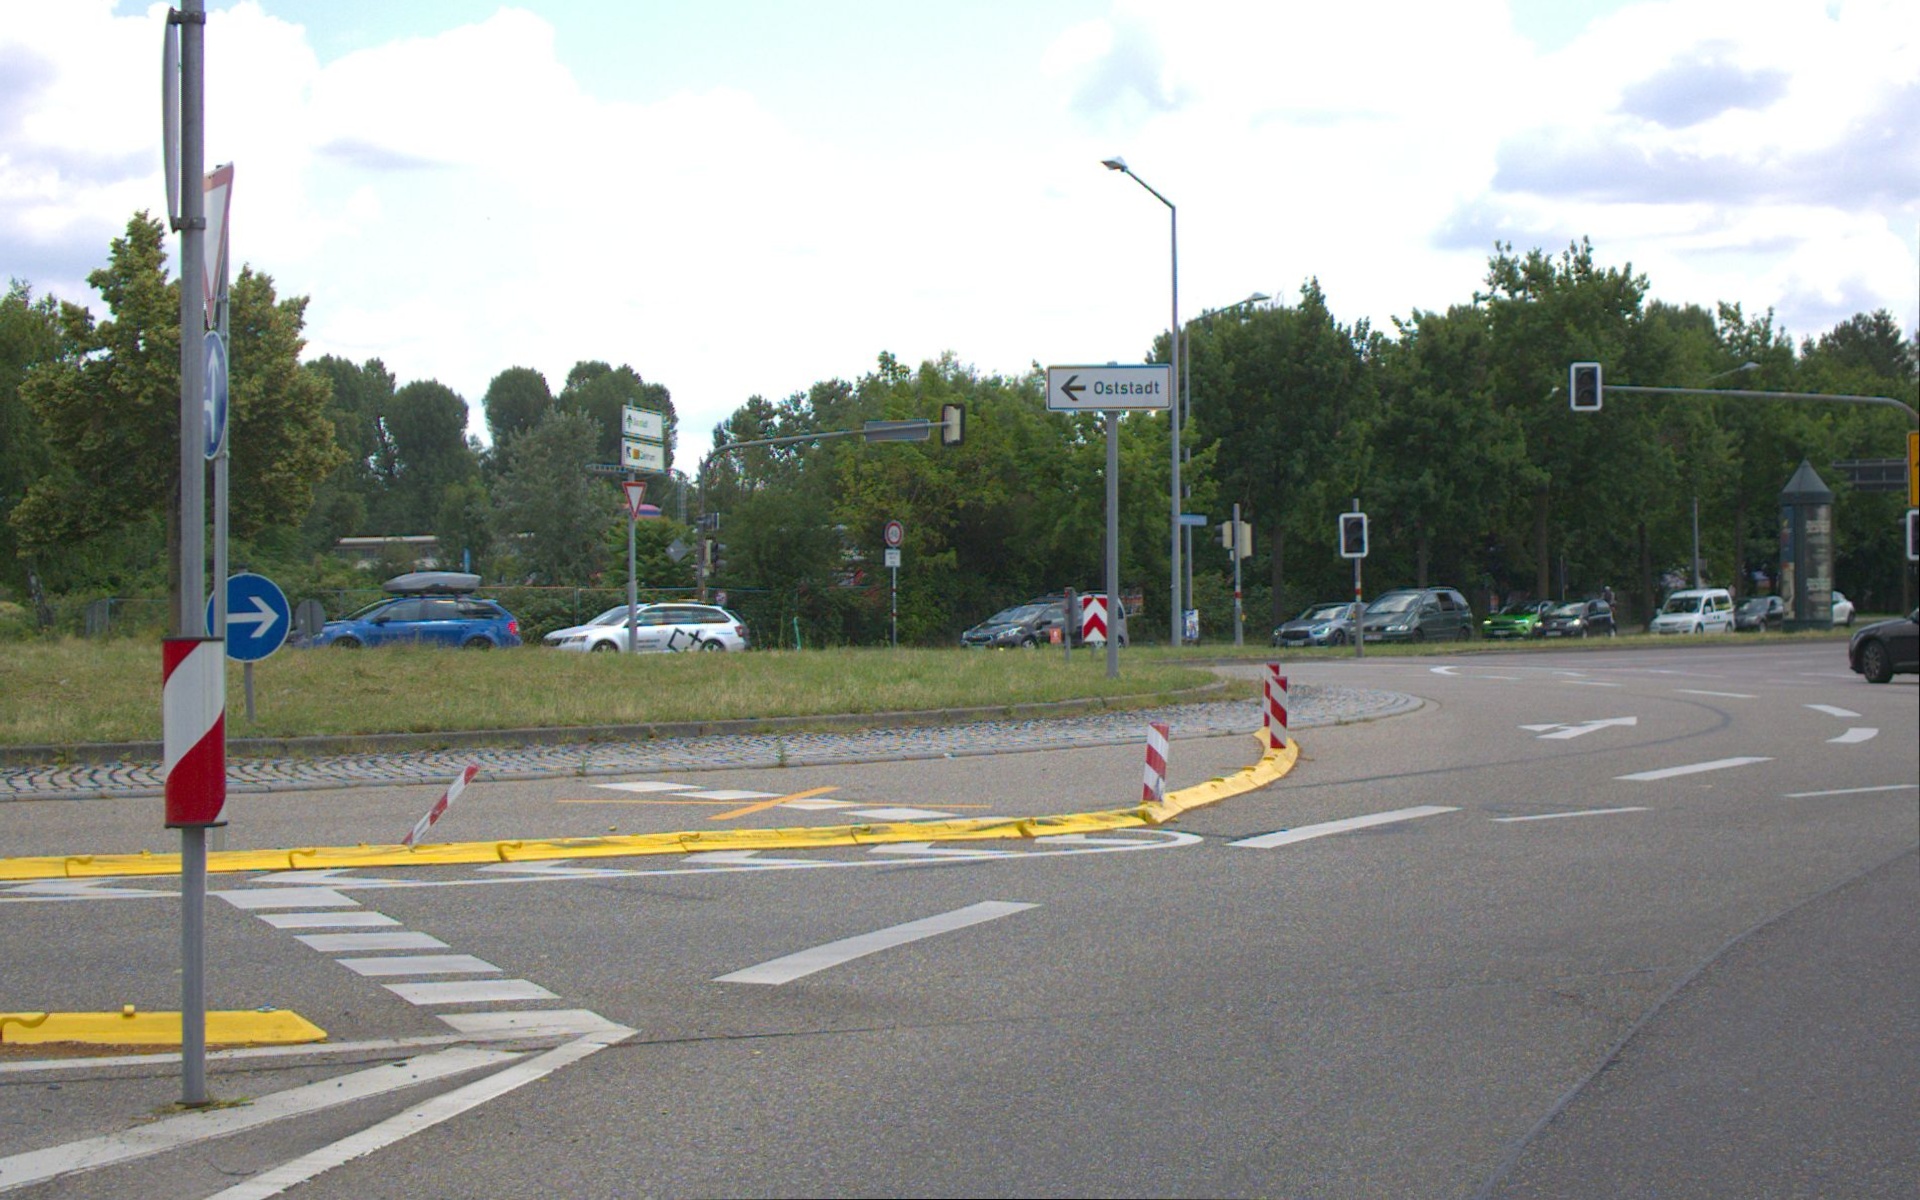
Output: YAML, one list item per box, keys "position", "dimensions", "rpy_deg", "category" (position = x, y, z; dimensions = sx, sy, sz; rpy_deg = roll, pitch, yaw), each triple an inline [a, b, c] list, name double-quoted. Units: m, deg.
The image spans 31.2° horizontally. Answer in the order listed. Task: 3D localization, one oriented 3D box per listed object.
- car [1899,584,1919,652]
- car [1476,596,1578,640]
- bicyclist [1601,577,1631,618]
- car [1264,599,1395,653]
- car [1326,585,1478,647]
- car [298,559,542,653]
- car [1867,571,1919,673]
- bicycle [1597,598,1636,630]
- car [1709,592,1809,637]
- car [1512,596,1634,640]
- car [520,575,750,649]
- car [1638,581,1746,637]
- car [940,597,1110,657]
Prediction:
- position: [29.785, 0.543, 103.322]
  dimensions: [1.997, 2.007, 3.993]
  rpy_deg: [1, 1, 31]
  category: "car"
- position: [18.409, 0.577, 111.503]
  dimensions: [1.619, 1.344, 4.162]
  rpy_deg: [-2, -1, 34]
  category: "car"
- position: [25.689, -0.088, 134.571]
  dimensions: [0.831, 1.559, 0.882]
  rpy_deg: [2, 1, 33]
  category: "bicyclist"
- position: [10.069, 0.697, 93.425]
  dimensions: [1.909, 1.418, 4.184]
  rpy_deg: [0, 0, 32]
  category: "car"
- position: [11.645, 0.407, 90.306]
  dimensions: [1.912, 1.587, 4.582]
  rpy_deg: [0, 0, 38]
  category: "car"
- position: [-10.485, 0.092, 66.785]
  dimensions: [4.392, 1.792, 1.756]
  rpy_deg: [0, 1, -24]
  category: "car"
- position: [15.040, 0.345, 49.211]
  dimensions: [1.683, 1.458, 4.001]
  rpy_deg: [1, 1, -28]
  category: "car"
- position: [25.695, 0.549, 134.625]
  dimensions: [0.762, 1.215, 2.013]
  rpy_deg: [2, 1, 33]
  category: "bicycle"
- position: [27.987, 0.508, 120.358]
  dimensions: [1.841, 1.475, 4.744]
  rpy_deg: [-2, -1, 33]
  category: "car"
- position: [19.265, 0.554, 107.849]
  dimensions: [1.841, 1.306, 4.778]
  rpy_deg: [-2, -1, 36]
  category: "car"
- position: [-7.017, 0.240, 74.345]
  dimensions: [4.493, 1.516, 2.124]
  rpy_deg: [-1, 1, -36]
  category: "car"
- position: [24.630, 0.317, 115.548]
  dimensions: [1.841, 1.793, 4.778]
  rpy_deg: [-2, -1, 34]
  category: "car"
- position: [1.570, 0.637, 82.204]
  dimensions: [1.801, 1.336, 3.969]
  rpy_deg: [-2, -1, 44]
  category: "car"
